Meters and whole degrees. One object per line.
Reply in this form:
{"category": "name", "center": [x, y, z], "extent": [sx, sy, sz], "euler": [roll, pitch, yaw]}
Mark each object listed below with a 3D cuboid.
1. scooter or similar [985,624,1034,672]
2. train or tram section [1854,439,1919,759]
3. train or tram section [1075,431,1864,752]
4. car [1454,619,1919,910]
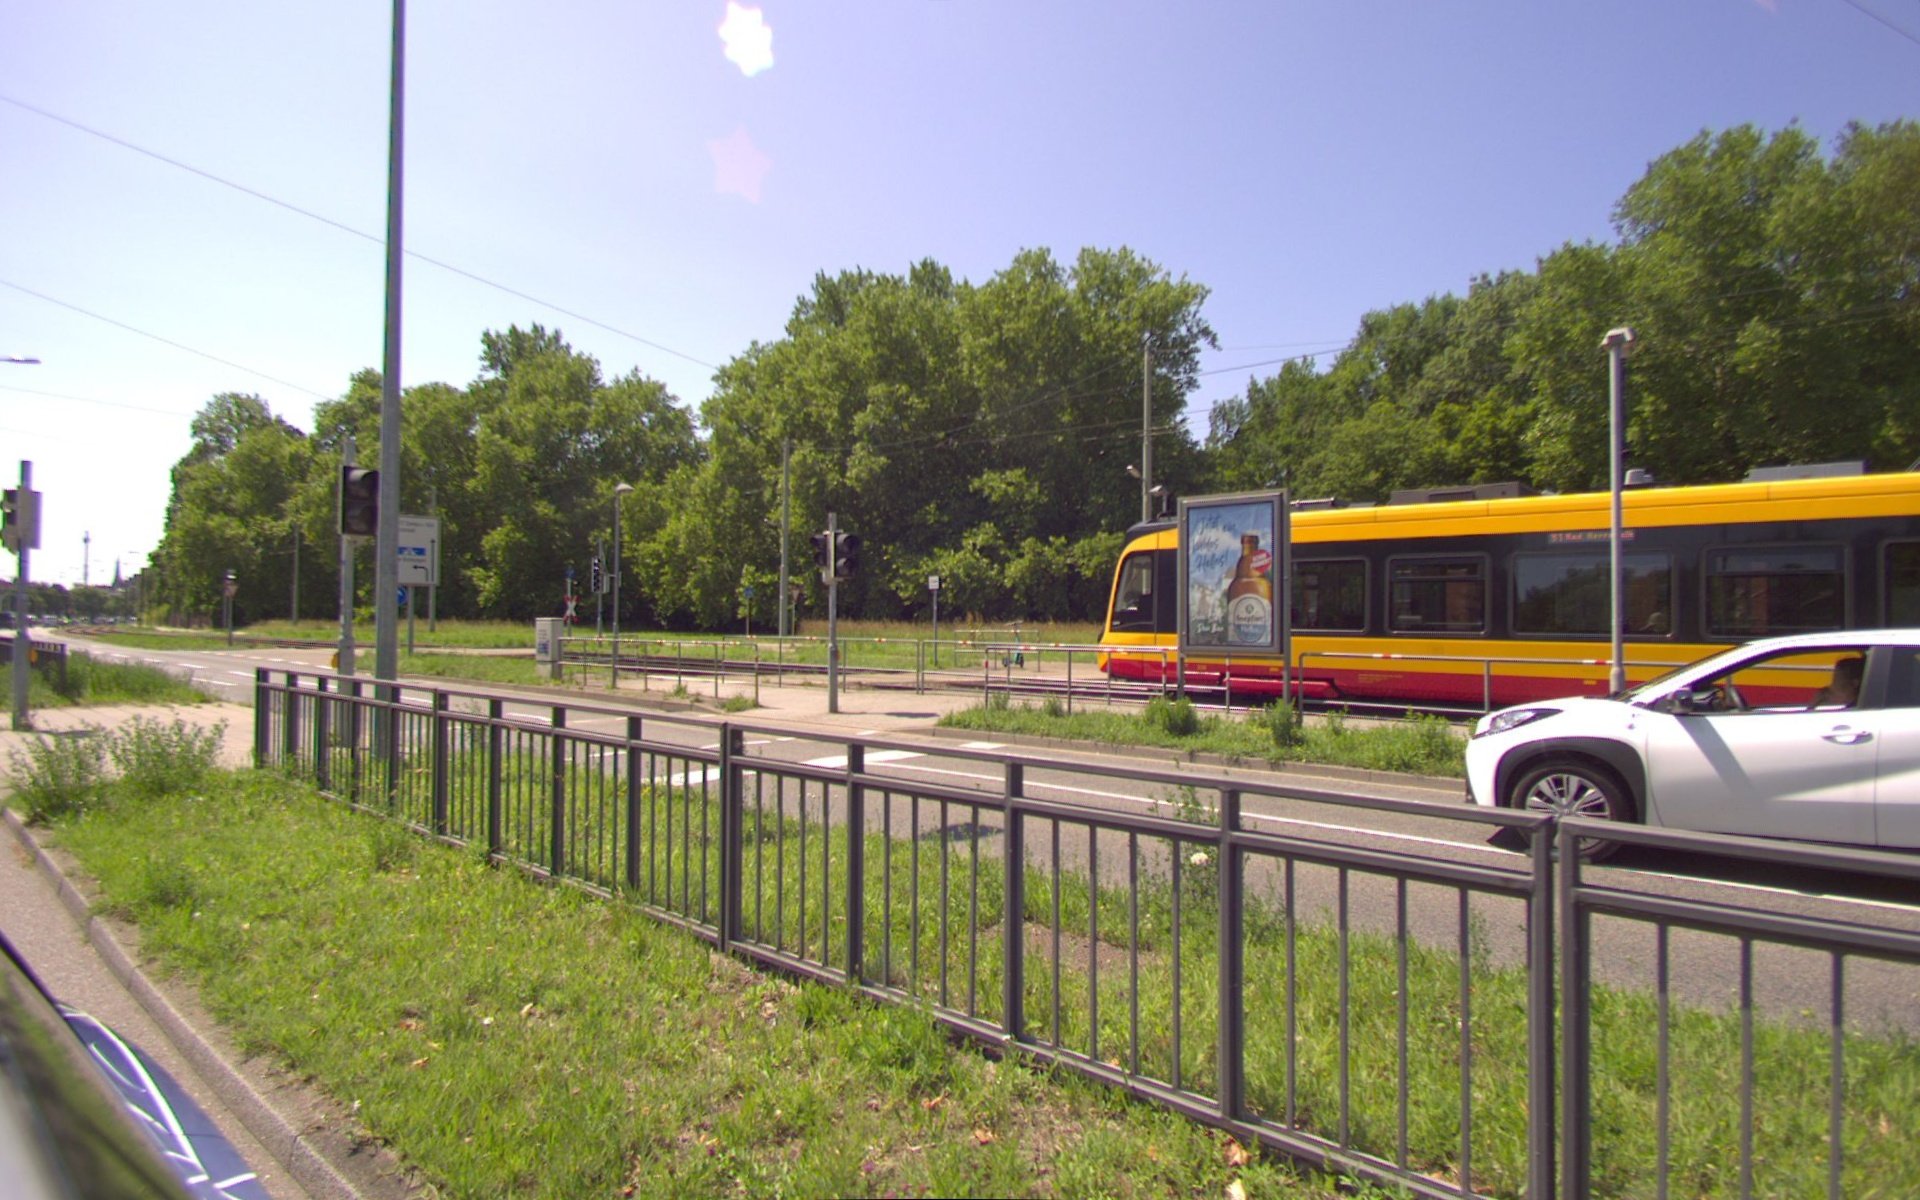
{"category": "scooter or similar", "center": [1.341, 1.299, 27.551], "extent": [1.100, 1.246, 0.761], "euler": [-1, -1, 42]}
{"category": "train or tram section", "center": [16.610, -0.114, 9.218], "extent": [12.591, 3.770, 3.012], "euler": [-1, -1, 42]}
{"category": "train or tram section", "center": [7.558, -0.019, 17.212], "extent": [11.536, 3.884, 2.919], "euler": [-1, -1, 42]}
{"category": "car", "center": [5.278, 0.879, 6.230], "extent": [3.717, 1.516, 1.751], "euler": [-1, -2, 40]}
